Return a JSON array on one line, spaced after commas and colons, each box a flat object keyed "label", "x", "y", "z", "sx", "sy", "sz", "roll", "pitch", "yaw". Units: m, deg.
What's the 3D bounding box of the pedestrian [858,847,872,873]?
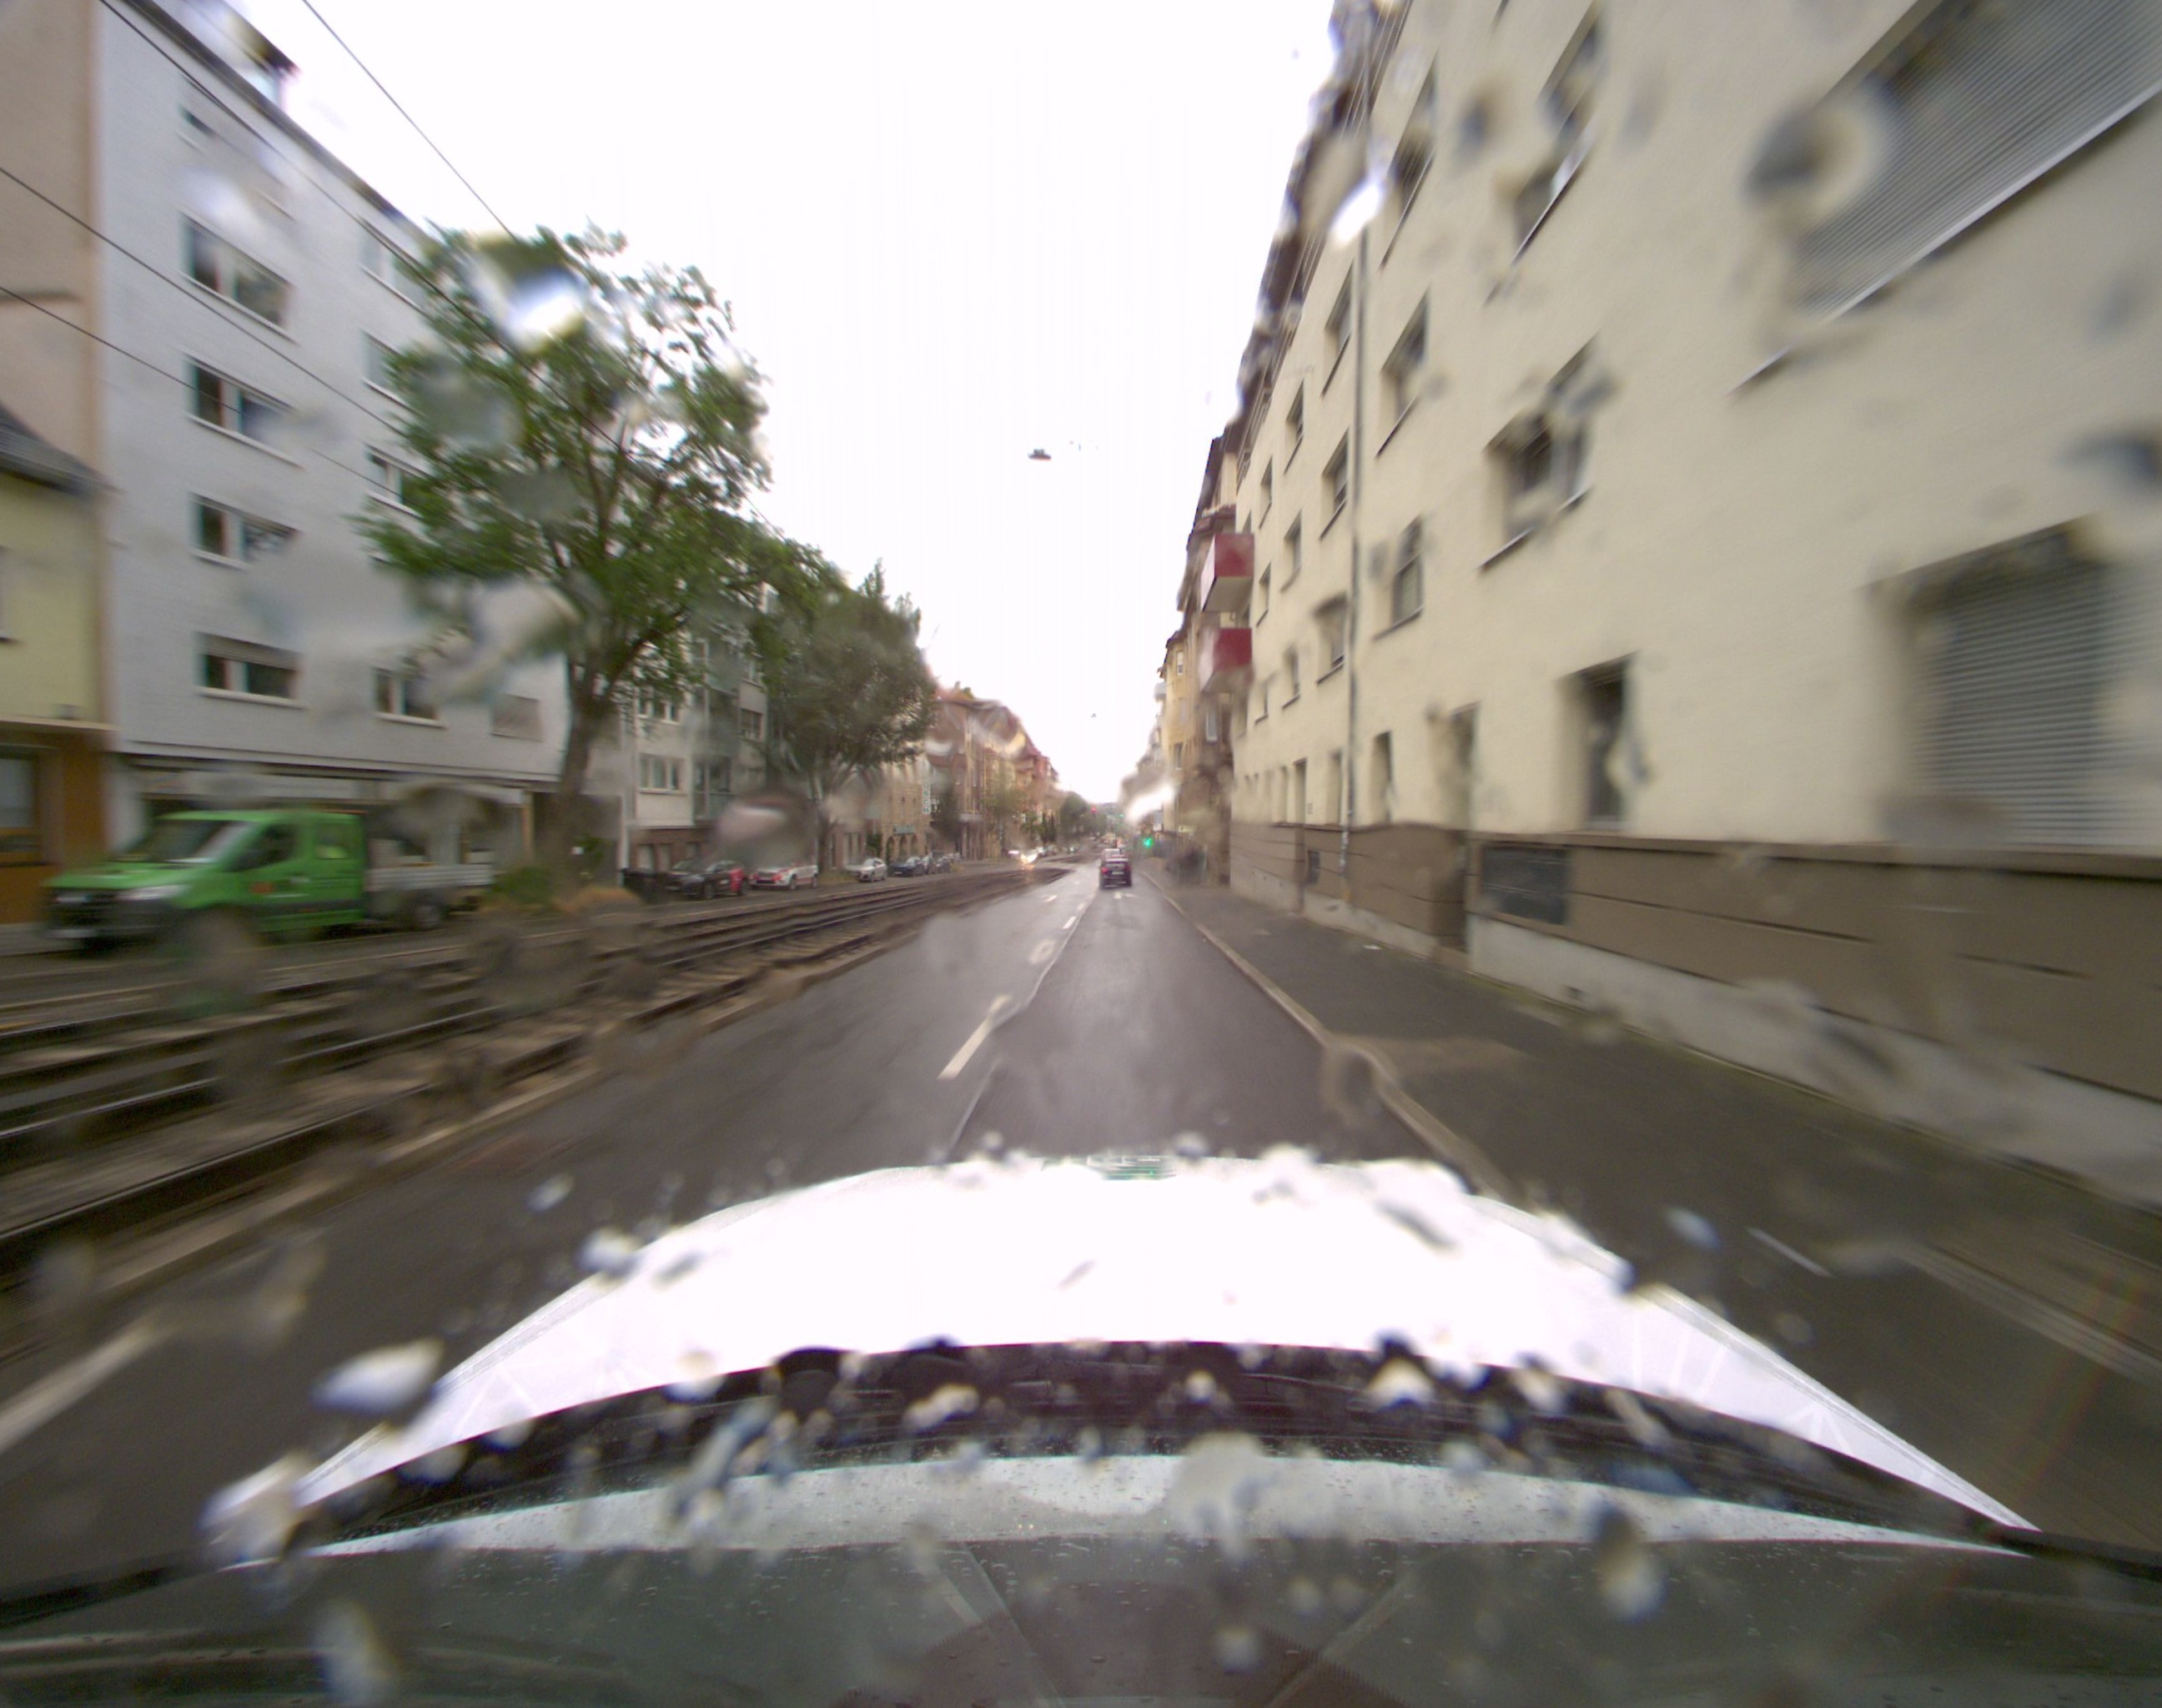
[{"label": "pedestrian", "x": -14.871, "y": 0.428, "z": 56.137, "sx": 0.670, "sy": 1.772, "sz": 0.783, "roll": 0, "pitch": 0, "yaw": 3}]

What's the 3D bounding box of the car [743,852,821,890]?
[{"label": "car", "x": -13.078, "y": 0.711, "z": 35.854, "sx": 1.769, "sy": 1.569, "sz": 4.160, "roll": 0, "pitch": 0, "yaw": 2}]

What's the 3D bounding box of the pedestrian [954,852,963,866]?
[{"label": "pedestrian", "x": -12.415, "y": 0.465, "z": 82.530, "sx": 0.751, "sy": 1.422, "sz": 0.646, "roll": 0, "pitch": 0, "yaw": 4}]

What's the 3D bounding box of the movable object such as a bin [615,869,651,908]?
[{"label": "movable object such as a bin", "x": -13.476, "y": 1.033, "z": 24.518, "sx": 0.723, "sy": 1.121, "sz": 0.670, "roll": -1, "pitch": 0, "yaw": -3}]

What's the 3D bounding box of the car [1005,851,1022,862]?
[{"label": "car", "x": -9.312, "y": 0.335, "z": 111.902, "sx": 1.757, "sy": 1.486, "sz": 4.004, "roll": 0, "pitch": 0, "yaw": 3}]

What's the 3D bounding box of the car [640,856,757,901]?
[{"label": "car", "x": -13.392, "y": 0.807, "z": 28.853, "sx": 1.899, "sy": 1.440, "sz": 4.471, "roll": 0, "pitch": 0, "yaw": 2}]

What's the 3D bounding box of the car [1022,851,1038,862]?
[{"label": "car", "x": -6.488, "y": 0.311, "z": 104.033, "sx": 1.620, "sy": 1.482, "sz": 3.584, "roll": 0, "pitch": 0, "yaw": 3}]

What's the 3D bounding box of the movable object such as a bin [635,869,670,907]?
[{"label": "movable object such as a bin", "x": -13.240, "y": 1.037, "z": 25.189, "sx": 0.723, "sy": 1.121, "sz": 0.670, "roll": -1, "pitch": 0, "yaw": -3}]

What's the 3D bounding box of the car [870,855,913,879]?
[{"label": "car", "x": -12.167, "y": 0.791, "z": 52.449, "sx": 1.800, "sy": 1.498, "sz": 3.528, "roll": 0, "pitch": 0, "yaw": 3}]

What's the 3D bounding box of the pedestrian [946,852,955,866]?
[{"label": "pedestrian", "x": -13.218, "y": 0.469, "z": 82.427, "sx": 0.751, "sy": 1.422, "sz": 0.646, "roll": 0, "pitch": 0, "yaw": 4}]

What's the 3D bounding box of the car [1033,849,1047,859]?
[{"label": "car", "x": -7.064, "y": 0.024, "z": 142.008, "sx": 1.775, "sy": 1.589, "sz": 4.358, "roll": -1, "pitch": 0, "yaw": 6}]

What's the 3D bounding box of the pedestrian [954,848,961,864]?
[{"label": "pedestrian", "x": -12.542, "y": 0.209, "z": 82.617, "sx": 0.515, "sy": 1.570, "sz": 0.644, "roll": 0, "pitch": -1, "yaw": 4}]

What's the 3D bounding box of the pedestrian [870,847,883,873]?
[{"label": "pedestrian", "x": -14.105, "y": 0.422, "z": 56.116, "sx": 0.670, "sy": 1.772, "sz": 0.783, "roll": 0, "pitch": 0, "yaw": 3}]

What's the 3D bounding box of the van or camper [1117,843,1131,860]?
[{"label": "van or camper", "x": 6.494, "y": -0.312, "z": 122.763, "sx": 2.056, "sy": 2.469, "sz": 6.124, "roll": 0, "pitch": 0, "yaw": 3}]

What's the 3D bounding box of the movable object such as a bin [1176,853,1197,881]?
[{"label": "movable object such as a bin", "x": 5.662, "y": 0.687, "z": 43.775, "sx": 1.005, "sy": 1.451, "sz": 1.394, "roll": -2, "pitch": 0, "yaw": 3}]

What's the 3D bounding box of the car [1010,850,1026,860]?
[{"label": "car", "x": -9.027, "y": 0.176, "z": 117.171, "sx": 1.659, "sy": 1.426, "sz": 4.268, "roll": 0, "pitch": 0, "yaw": 4}]

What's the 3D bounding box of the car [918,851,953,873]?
[{"label": "car", "x": -11.750, "y": 0.649, "z": 66.000, "sx": 1.878, "sy": 1.728, "sz": 3.743, "roll": 1, "pitch": 0, "yaw": 3}]

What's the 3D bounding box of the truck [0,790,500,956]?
[{"label": "truck", "x": -14.127, "y": 0.338, "z": 14.779, "sx": 2.182, "sy": 2.346, "sz": 6.360, "roll": -1, "pitch": -1, "yaw": 5}]

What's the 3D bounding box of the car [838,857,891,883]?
[{"label": "car", "x": -12.475, "y": 0.895, "z": 47.154, "sx": 1.695, "sy": 1.335, "sz": 4.133, "roll": 2, "pitch": 0, "yaw": 3}]

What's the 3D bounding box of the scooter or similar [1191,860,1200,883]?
[{"label": "scooter or similar", "x": 5.509, "y": 0.857, "z": 39.180, "sx": 0.209, "sy": 1.112, "sz": 0.889, "roll": -2, "pitch": -2, "yaw": -7}]

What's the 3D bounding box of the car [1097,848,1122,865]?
[{"label": "car", "x": 2.962, "y": 0.256, "z": 84.469, "sx": 1.920, "sy": 1.655, "sz": 3.989, "roll": 2, "pitch": 0, "yaw": -8}]

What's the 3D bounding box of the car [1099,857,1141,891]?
[{"label": "car", "x": 1.862, "y": 0.922, "z": 39.288, "sx": 1.939, "sy": 1.564, "sz": 3.644, "roll": 0, "pitch": 0, "yaw": 2}]

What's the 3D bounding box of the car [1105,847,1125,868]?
[{"label": "car", "x": 2.729, "y": 0.256, "z": 64.682, "sx": 1.529, "sy": 1.510, "sz": 4.004, "roll": 1, "pitch": 1, "yaw": 3}]

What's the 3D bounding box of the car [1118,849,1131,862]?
[{"label": "car", "x": 6.144, "y": 0.216, "z": 114.377, "sx": 1.761, "sy": 1.808, "sz": 4.486, "roll": 1, "pitch": 0, "yaw": 3}]

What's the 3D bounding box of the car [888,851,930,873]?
[{"label": "car", "x": -11.834, "y": 0.563, "z": 56.220, "sx": 1.794, "sy": 1.455, "sz": 4.432, "roll": 0, "pitch": 0, "yaw": 2}]
